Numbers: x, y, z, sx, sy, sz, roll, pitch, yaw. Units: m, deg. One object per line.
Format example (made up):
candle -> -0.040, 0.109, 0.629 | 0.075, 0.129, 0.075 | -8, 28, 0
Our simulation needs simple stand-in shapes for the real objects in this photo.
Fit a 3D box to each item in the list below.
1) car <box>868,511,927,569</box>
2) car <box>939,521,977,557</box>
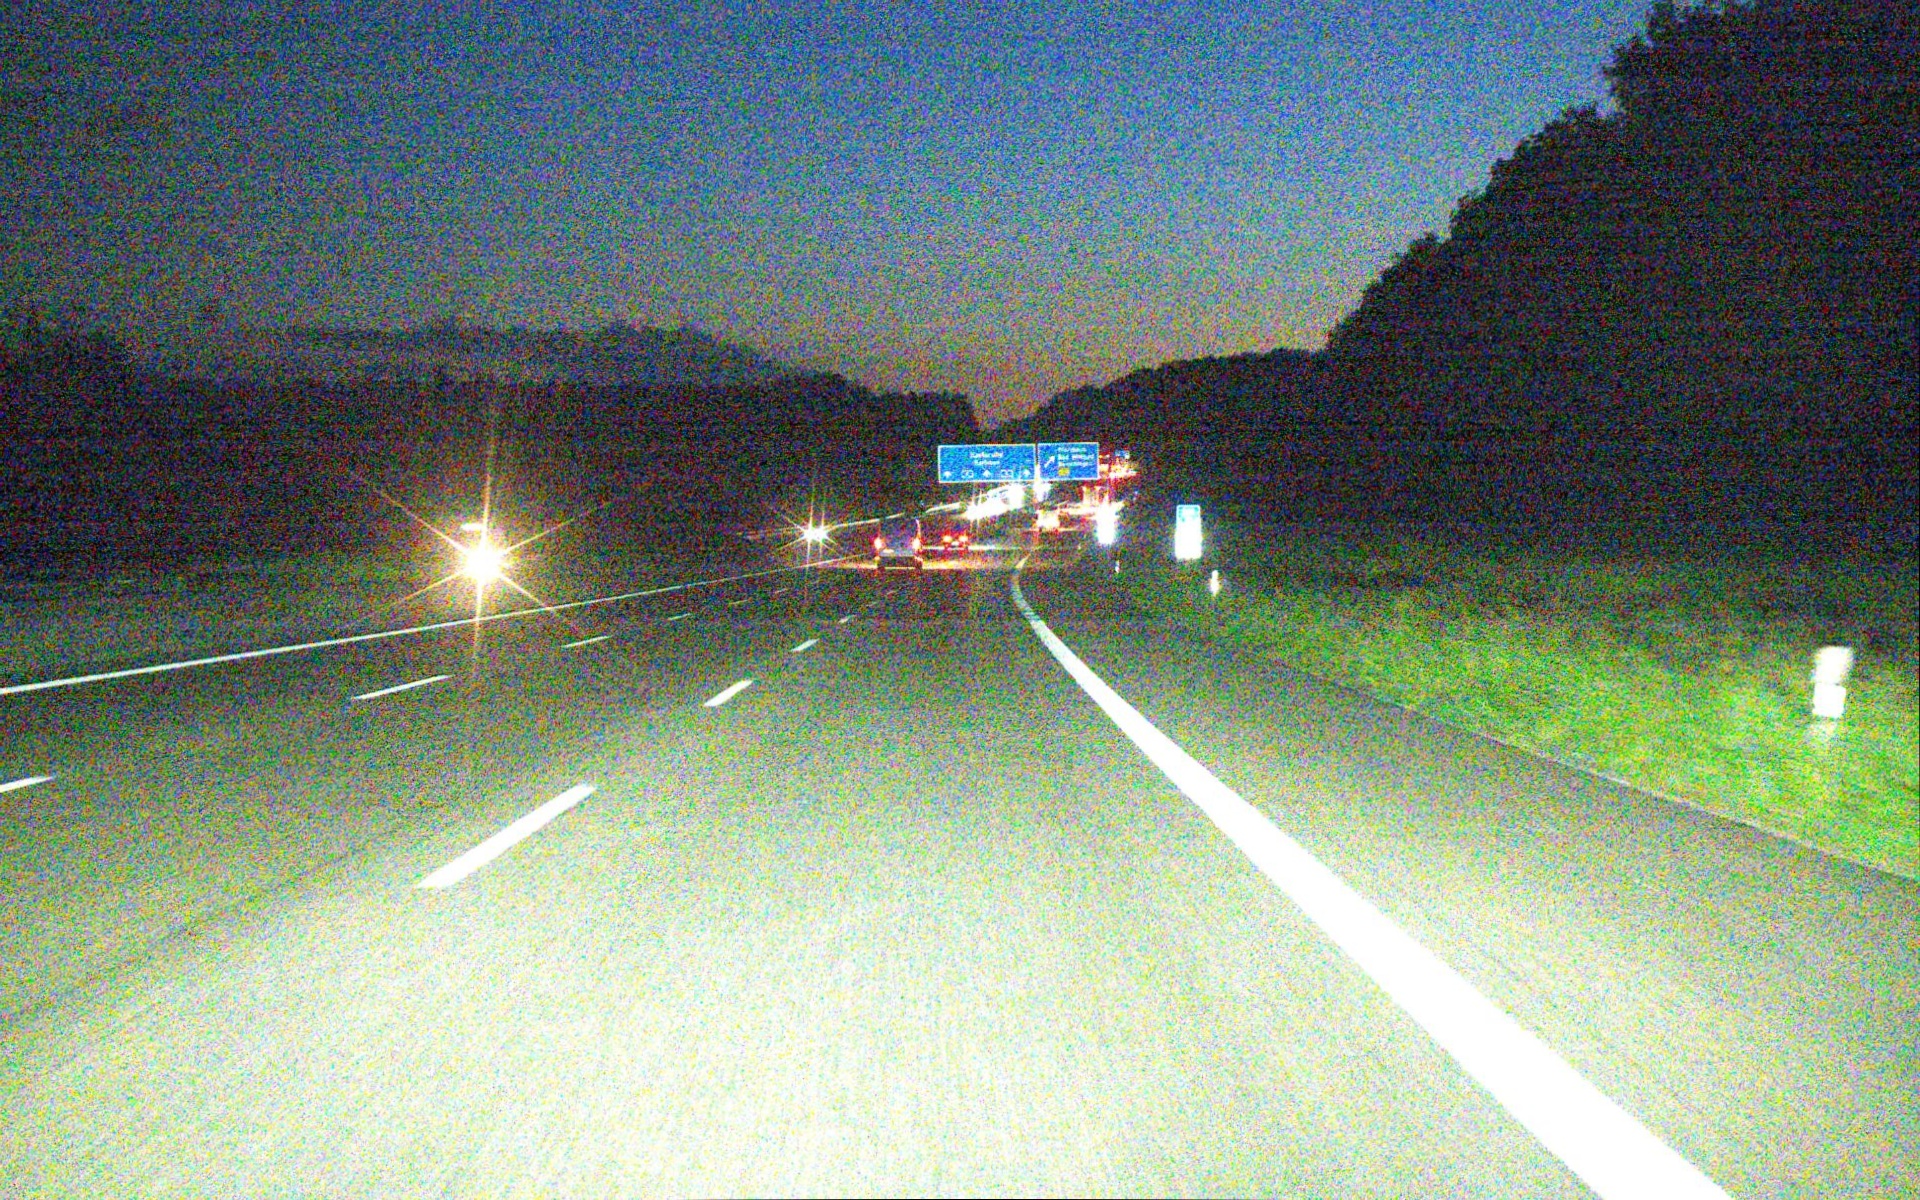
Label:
car -> -3.003, -2.864, 164.972 | 2.786, 2.724, 6.299 | 0, 1, -1
car -> -0.135, -4.643, 262.847 | 2.786, 2.724, 6.299 | 0, 1, 0
